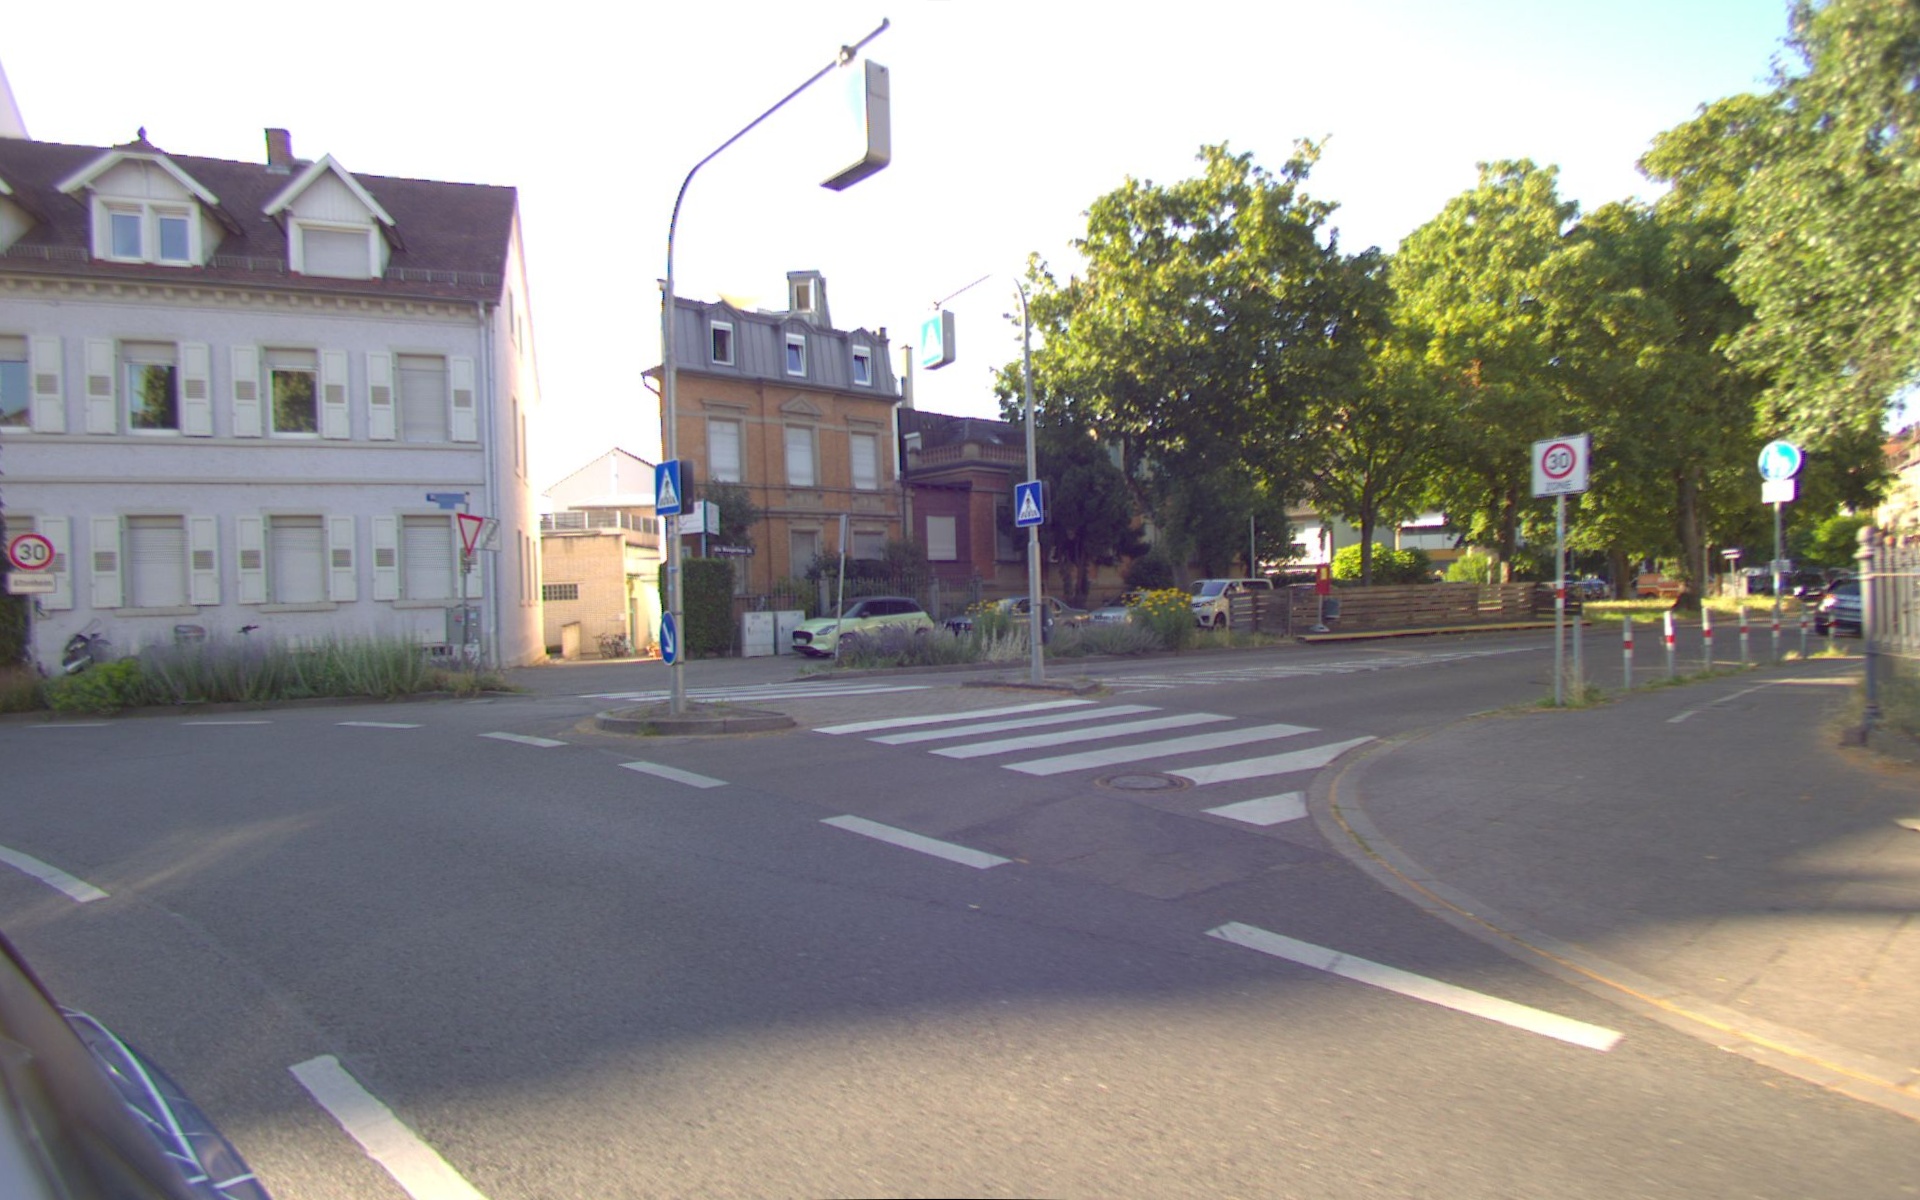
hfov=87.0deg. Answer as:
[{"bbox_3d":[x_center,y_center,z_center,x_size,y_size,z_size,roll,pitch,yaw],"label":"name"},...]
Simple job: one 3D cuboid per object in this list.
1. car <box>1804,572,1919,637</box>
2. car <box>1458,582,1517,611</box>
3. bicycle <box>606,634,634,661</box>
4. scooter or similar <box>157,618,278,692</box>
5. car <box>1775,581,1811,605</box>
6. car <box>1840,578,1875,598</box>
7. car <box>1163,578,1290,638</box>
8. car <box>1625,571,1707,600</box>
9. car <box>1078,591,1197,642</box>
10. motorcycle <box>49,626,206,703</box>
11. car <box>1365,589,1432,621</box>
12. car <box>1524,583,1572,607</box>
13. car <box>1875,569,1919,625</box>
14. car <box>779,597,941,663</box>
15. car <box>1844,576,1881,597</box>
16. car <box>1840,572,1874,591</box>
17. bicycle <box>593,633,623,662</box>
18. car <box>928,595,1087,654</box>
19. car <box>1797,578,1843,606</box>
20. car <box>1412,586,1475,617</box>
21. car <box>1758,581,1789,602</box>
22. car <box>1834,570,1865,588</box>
[{"bbox_3d":[21.559,0.071,23.773,3.936,1.379,1.845,-2,0,-38],"label":"car"},{"bbox_3d":[28.480,-0.210,54.617,3.524,1.402,1.600,-2,0,-41],"label":"car"},{"bbox_3d":[-15.351,2.117,45.750,0.694,1.090,2.343,-2,0,-7],"label":"bicycle"},{"bbox_3d":[-15.159,1.108,20.700,1.854,1.376,0.626,-2,0,-21],"label":"scooter or similar"},{"bbox_3d":[55.473,-0.484,67.440,1.760,1.443,3.623,-2,0,39],"label":"car"},{"bbox_3d":[67.736,-0.908,76.441,1.840,1.379,3.946,-2,0,40],"label":"car"},{"bbox_3d":[9.813,0.258,37.082,5.020,1.959,1.932,-2,0,-41],"label":"car"},{"bbox_3d":[46.010,-0.935,66.043,1.809,1.793,4.013,-2,0,-20],"label":"car"},{"bbox_3d":[5.845,0.521,33.136,3.953,1.465,1.704,-2,0,-41],"label":"car"},{"bbox_3d":[-15.031,1.151,18.328,2.073,1.236,0.626,-2,0,-17],"label":"motorcycle"},{"bbox_3d":[21.439,0.252,49.434,3.524,1.402,1.600,-2,0,-41],"label":"car"},{"bbox_3d":[37.983,-0.354,65.332,3.524,1.402,1.600,-2,0,-41],"label":"car"},{"bbox_3d":[25.397,-0.125,26.217,3.936,1.379,1.845,-2,0,-38],"label":"car"},{"bbox_3d":[-2.522,0.719,25.933,3.822,1.465,1.704,-2,0,-41],"label":"car"},{"bbox_3d":[64.223,-0.990,72.061,1.840,1.379,3.946,-2,0,40],"label":"car"},{"bbox_3d":[71.109,-1.475,80.257,1.840,1.379,3.946,-2,0,40],"label":"car"},{"bbox_3d":[-14.935,1.984,42.942,0.694,1.090,2.343,-2,0,-7],"label":"bicycle"},{"bbox_3d":[1.428,0.662,29.111,4.622,1.465,1.729,-2,0,-41],"label":"car"},{"bbox_3d":[47.163,-0.447,55.523,1.840,1.379,3.946,-2,0,40],"label":"car"},{"bbox_3d":[24.729,0.064,51.729,3.524,1.402,1.600,-2,0,-41],"label":"car"},{"bbox_3d":[61.079,-0.673,75.993,1.760,1.443,3.623,-2,0,39],"label":"car"},{"bbox_3d":[74.190,-1.745,84.435,1.840,1.379,3.946,-2,0,40],"label":"car"}]
